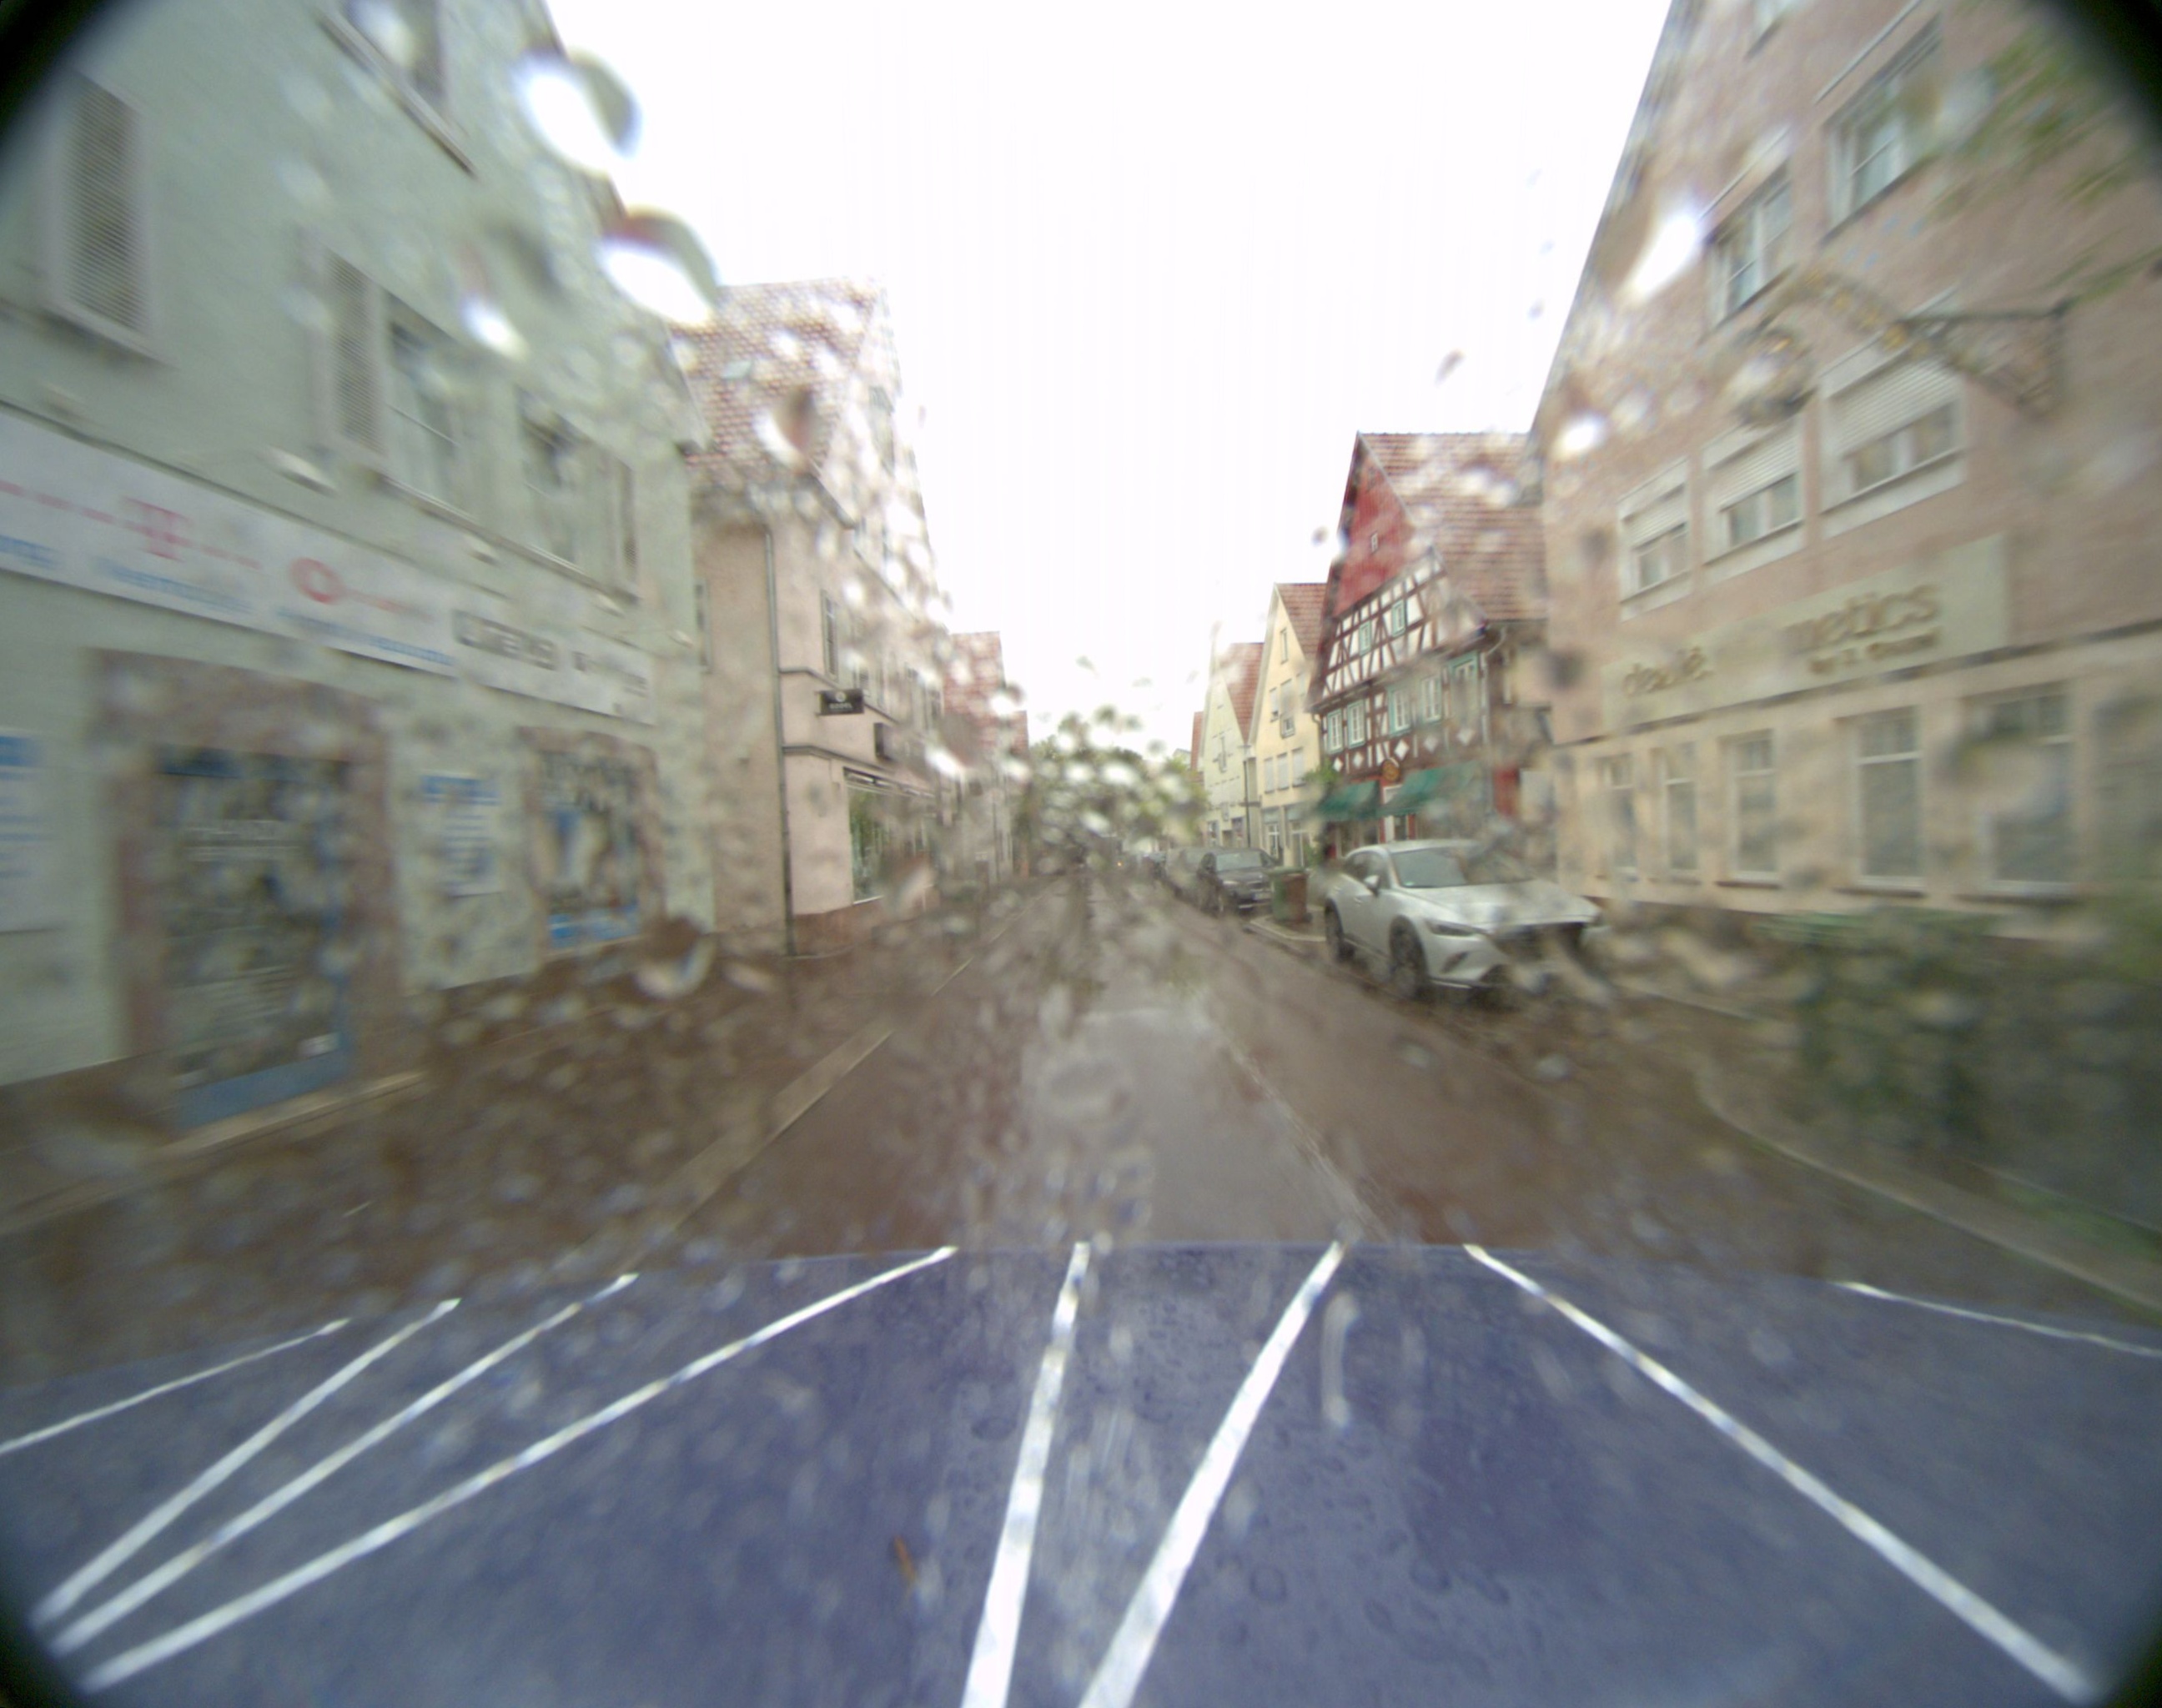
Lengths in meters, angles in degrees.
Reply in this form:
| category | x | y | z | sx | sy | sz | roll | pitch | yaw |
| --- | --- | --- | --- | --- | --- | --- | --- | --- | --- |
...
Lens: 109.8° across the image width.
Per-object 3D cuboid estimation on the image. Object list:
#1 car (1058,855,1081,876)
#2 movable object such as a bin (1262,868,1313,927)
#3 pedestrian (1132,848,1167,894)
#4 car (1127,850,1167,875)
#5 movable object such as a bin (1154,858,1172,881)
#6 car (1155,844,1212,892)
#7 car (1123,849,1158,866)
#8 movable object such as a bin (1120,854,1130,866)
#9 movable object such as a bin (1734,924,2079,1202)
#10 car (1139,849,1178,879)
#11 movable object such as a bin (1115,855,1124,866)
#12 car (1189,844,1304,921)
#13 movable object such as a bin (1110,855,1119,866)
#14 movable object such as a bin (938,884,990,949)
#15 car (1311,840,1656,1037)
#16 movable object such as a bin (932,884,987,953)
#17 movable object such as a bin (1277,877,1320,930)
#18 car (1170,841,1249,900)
| category | x | y | z | sx | sy | sz | roll | pitch | yaw |
| --- | --- | --- | --- | --- | --- | --- | --- | --- | --- |
| car | -0.958 | 0.951 | 64.566 | 1.784 | 1.529 | 4.290 | -5 | 0 | 0 |
| movable object such as a bin | 4.113 | 0.848 | 15.175 | 0.771 | 1.076 | 0.675 | -4 | 2 | -3 |
| pedestrian | 2.645 | 0.651 | 29.412 | 1.176 | 1.672 | 0.790 | -4 | 2 | -1 |
| car | 4.228 | 0.556 | 49.384 | 1.867 | 1.433 | 4.618 | -4 | 0 | -3 |
| movable object such as a bin | 4.167 | 0.797 | 38.452 | 0.748 | 1.077 | 0.744 | -4 | 2 | -1 |
| car | 4.284 | 0.526 | 32.364 | 1.828 | 1.657 | 4.641 | -4 | 2 | 2 |
| car | 6.089 | 0.332 | 77.373 | 1.788 | 1.547 | 3.956 | -2 | 1 | 34 |
| movable object such as a bin | 4.268 | 0.574 | 74.196 | 0.726 | 1.077 | 0.605 | -3 | 2 | 25 |
| movable object such as a bin | 3.810 | 0.928 | 3.585 | 0.788 | 1.078 | 0.693 | -5 | 0 | 4 |
| car | 4.402 | 0.535 | 43.697 | 1.866 | 1.515 | 4.328 | -5 | 0 | 3 |
| movable object such as a bin | 3.797 | 0.631 | 74.665 | 0.538 | 1.136 | 0.729 | -1 | 1 | 31 |
| car | 3.986 | 0.659 | 19.030 | 1.784 | 1.529 | 4.290 | -6 | 0 | 0 |
| movable object such as a bin | 3.287 | 0.647 | 74.959 | 0.538 | 1.124 | 0.729 | -1 | 1 | 31 |
| movable object such as a bin | -2.074 | 1.103 | 13.581 | 0.795 | 1.074 | 0.614 | -3 | 2 | -2 |
| car | 3.984 | 0.721 | 8.417 | 1.696 | 1.529 | 4.122 | -5 | 0 | 3 |
| movable object such as a bin | -2.066 | 1.085 | 12.965 | 0.798 | 1.074 | 0.582 | -3 | 2 | -2 |
| movable object such as a bin | 4.158 | 0.934 | 14.554 | 0.610 | 0.933 | 0.499 | -4 | 2 | -3 |
| car | 4.109 | 0.485 | 25.066 | 1.828 | 1.656 | 4.642 | -4 | 0 | 1 |
